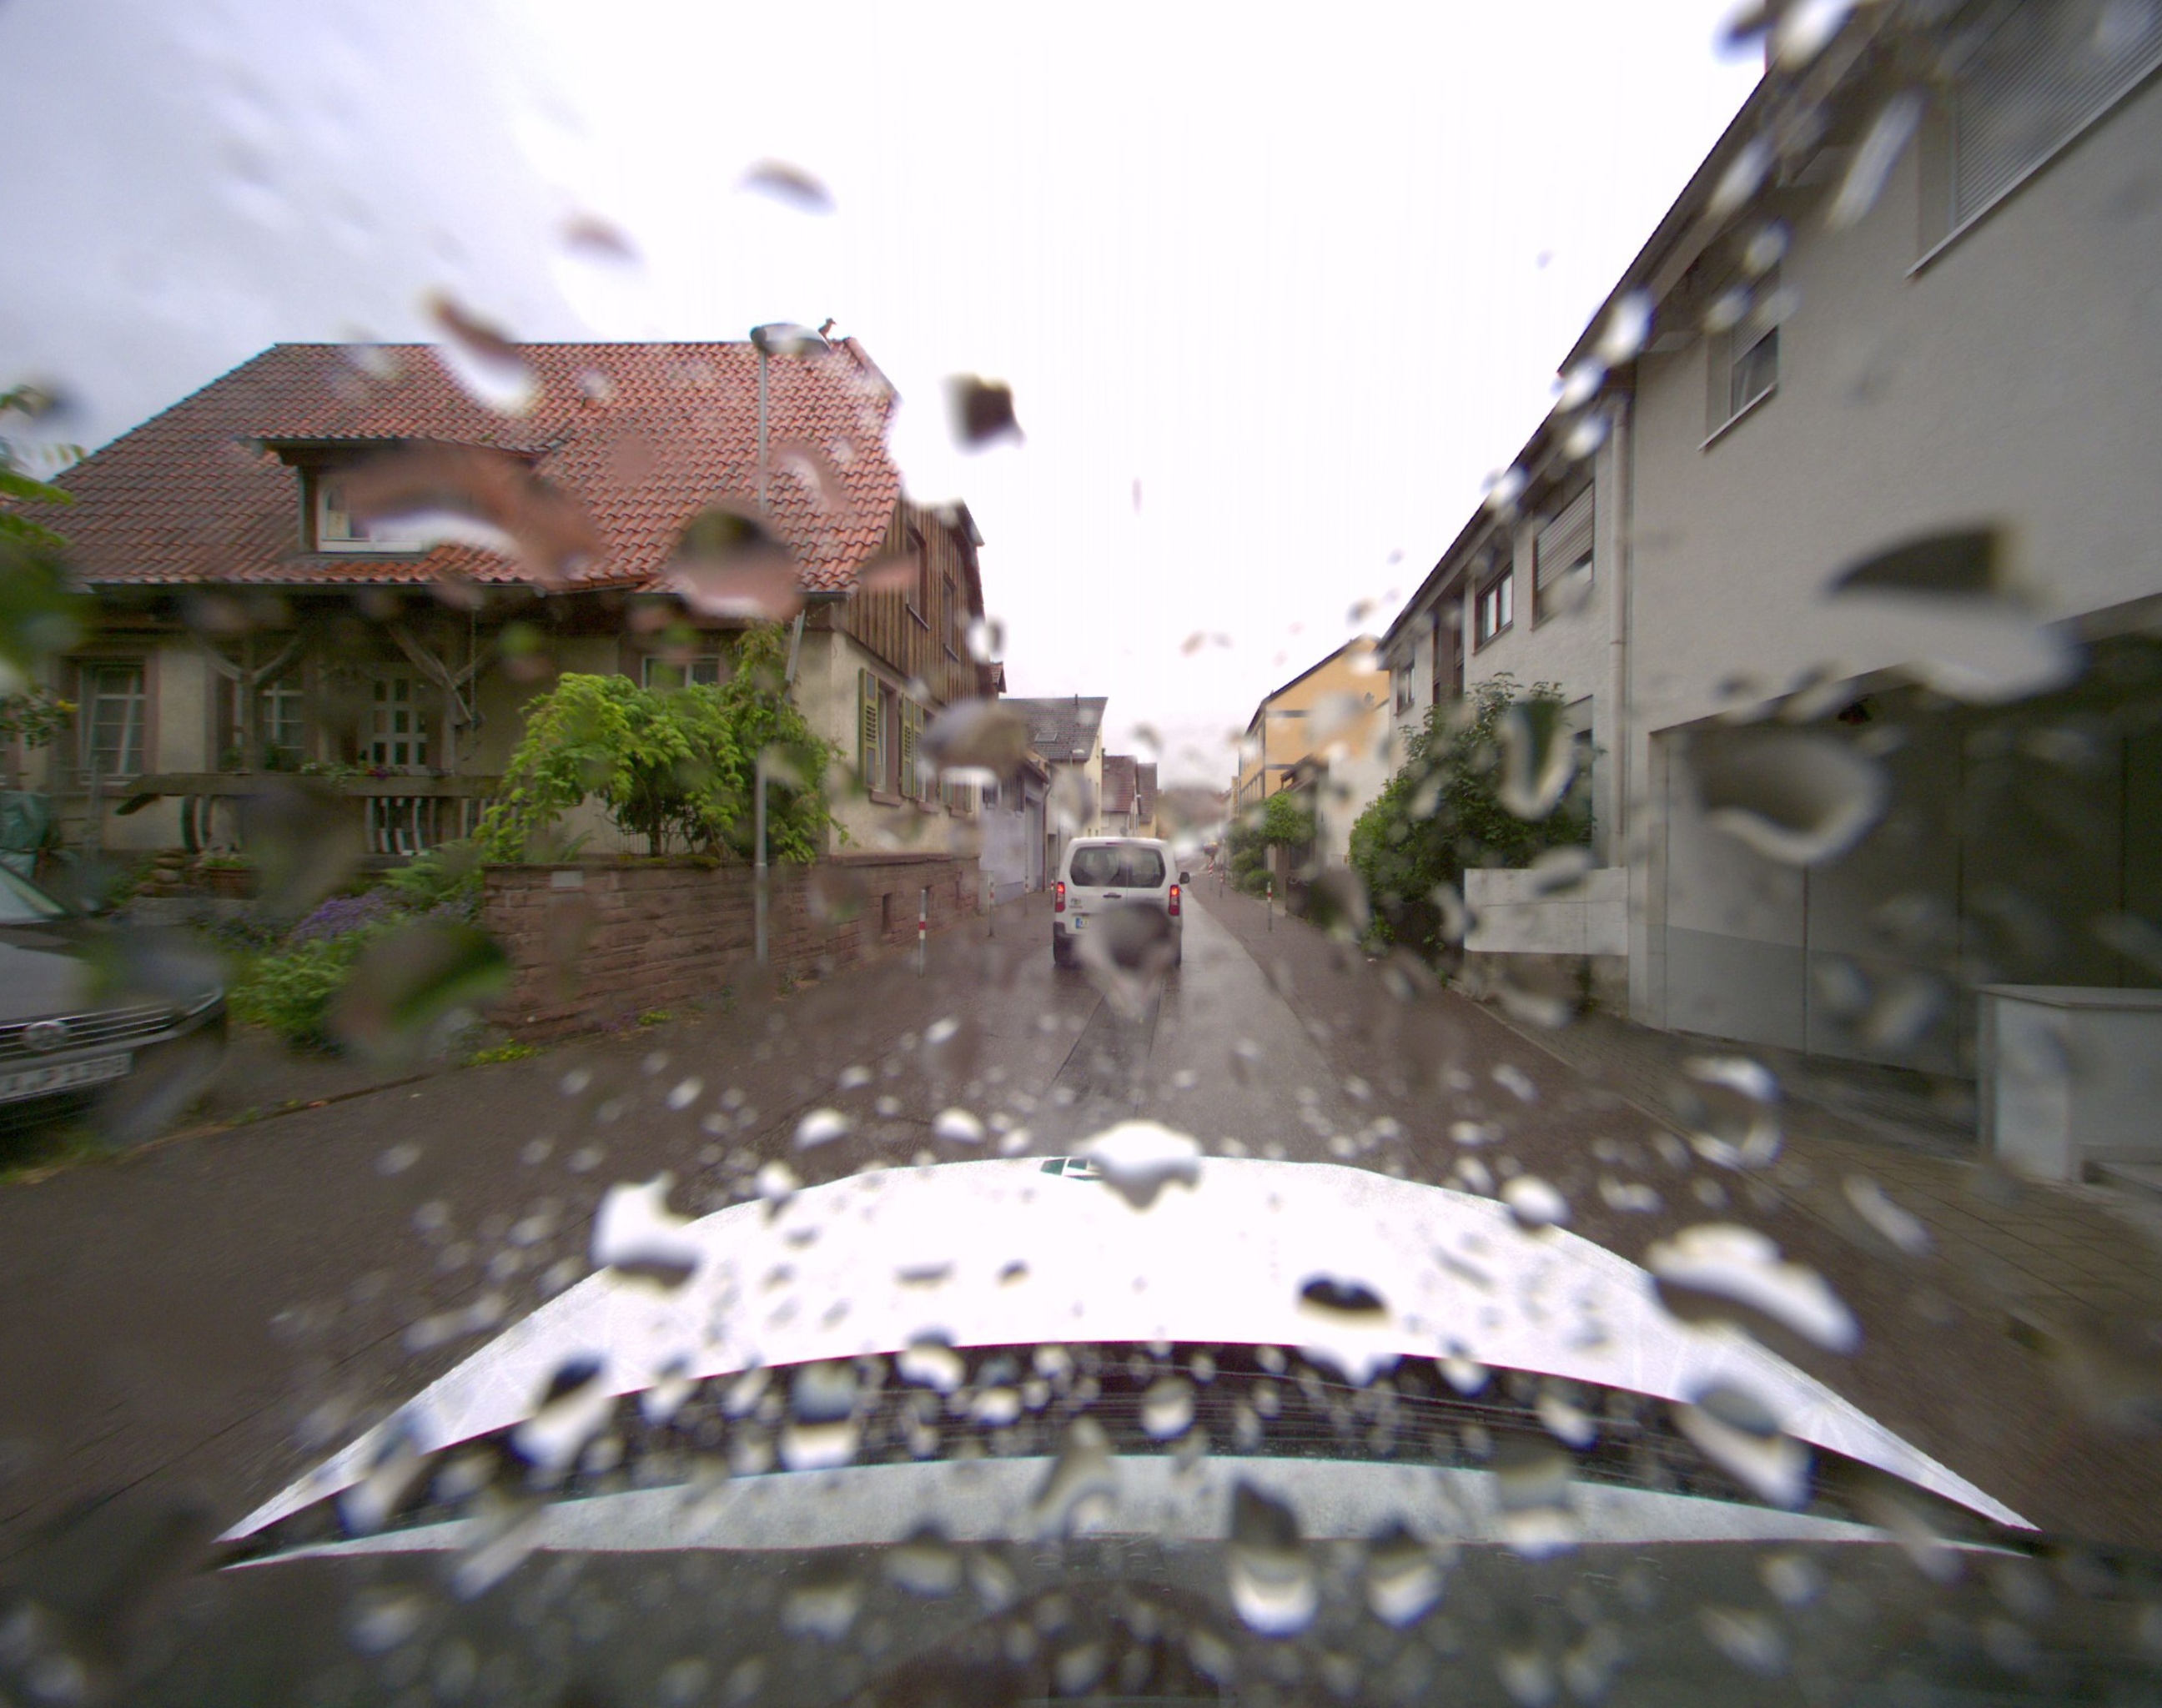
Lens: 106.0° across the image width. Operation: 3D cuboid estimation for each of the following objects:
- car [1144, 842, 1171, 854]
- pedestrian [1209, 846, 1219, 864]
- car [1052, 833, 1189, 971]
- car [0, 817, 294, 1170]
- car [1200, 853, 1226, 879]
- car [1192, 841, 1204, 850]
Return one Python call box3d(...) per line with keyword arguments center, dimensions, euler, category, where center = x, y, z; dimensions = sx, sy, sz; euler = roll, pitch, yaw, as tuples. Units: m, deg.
box3d(center=(11.471, -0.952, 121.950), dimensions=(3.429, 1.559, 1.989), euler=(-3, 1, -17), category="car")
box3d(center=(14.166, 0.130, 86.663), dimensions=(1.045, 1.893, 0.879), euler=(-1, -1, 6), category="pedestrian")
box3d(center=(0.727, 0.634, 12.585), dimensions=(1.766, 1.780, 4.007), euler=(-1, 0, 6), category="car")
box3d(center=(-6.586, 0.511, 4.171), dimensions=(3.959, 1.425, 1.742), euler=(5, 0, 14), category="car")
box3d(center=(10.594, 0.949, 65.131), dimensions=(1.981, 2.014, 4.010), euler=(-1, 0, 9), category="car")
box3d(center=(20.826, -1.550, 144.818), dimensions=(1.578, 1.441, 3.779), euler=(2, 0, 13), category="car")
